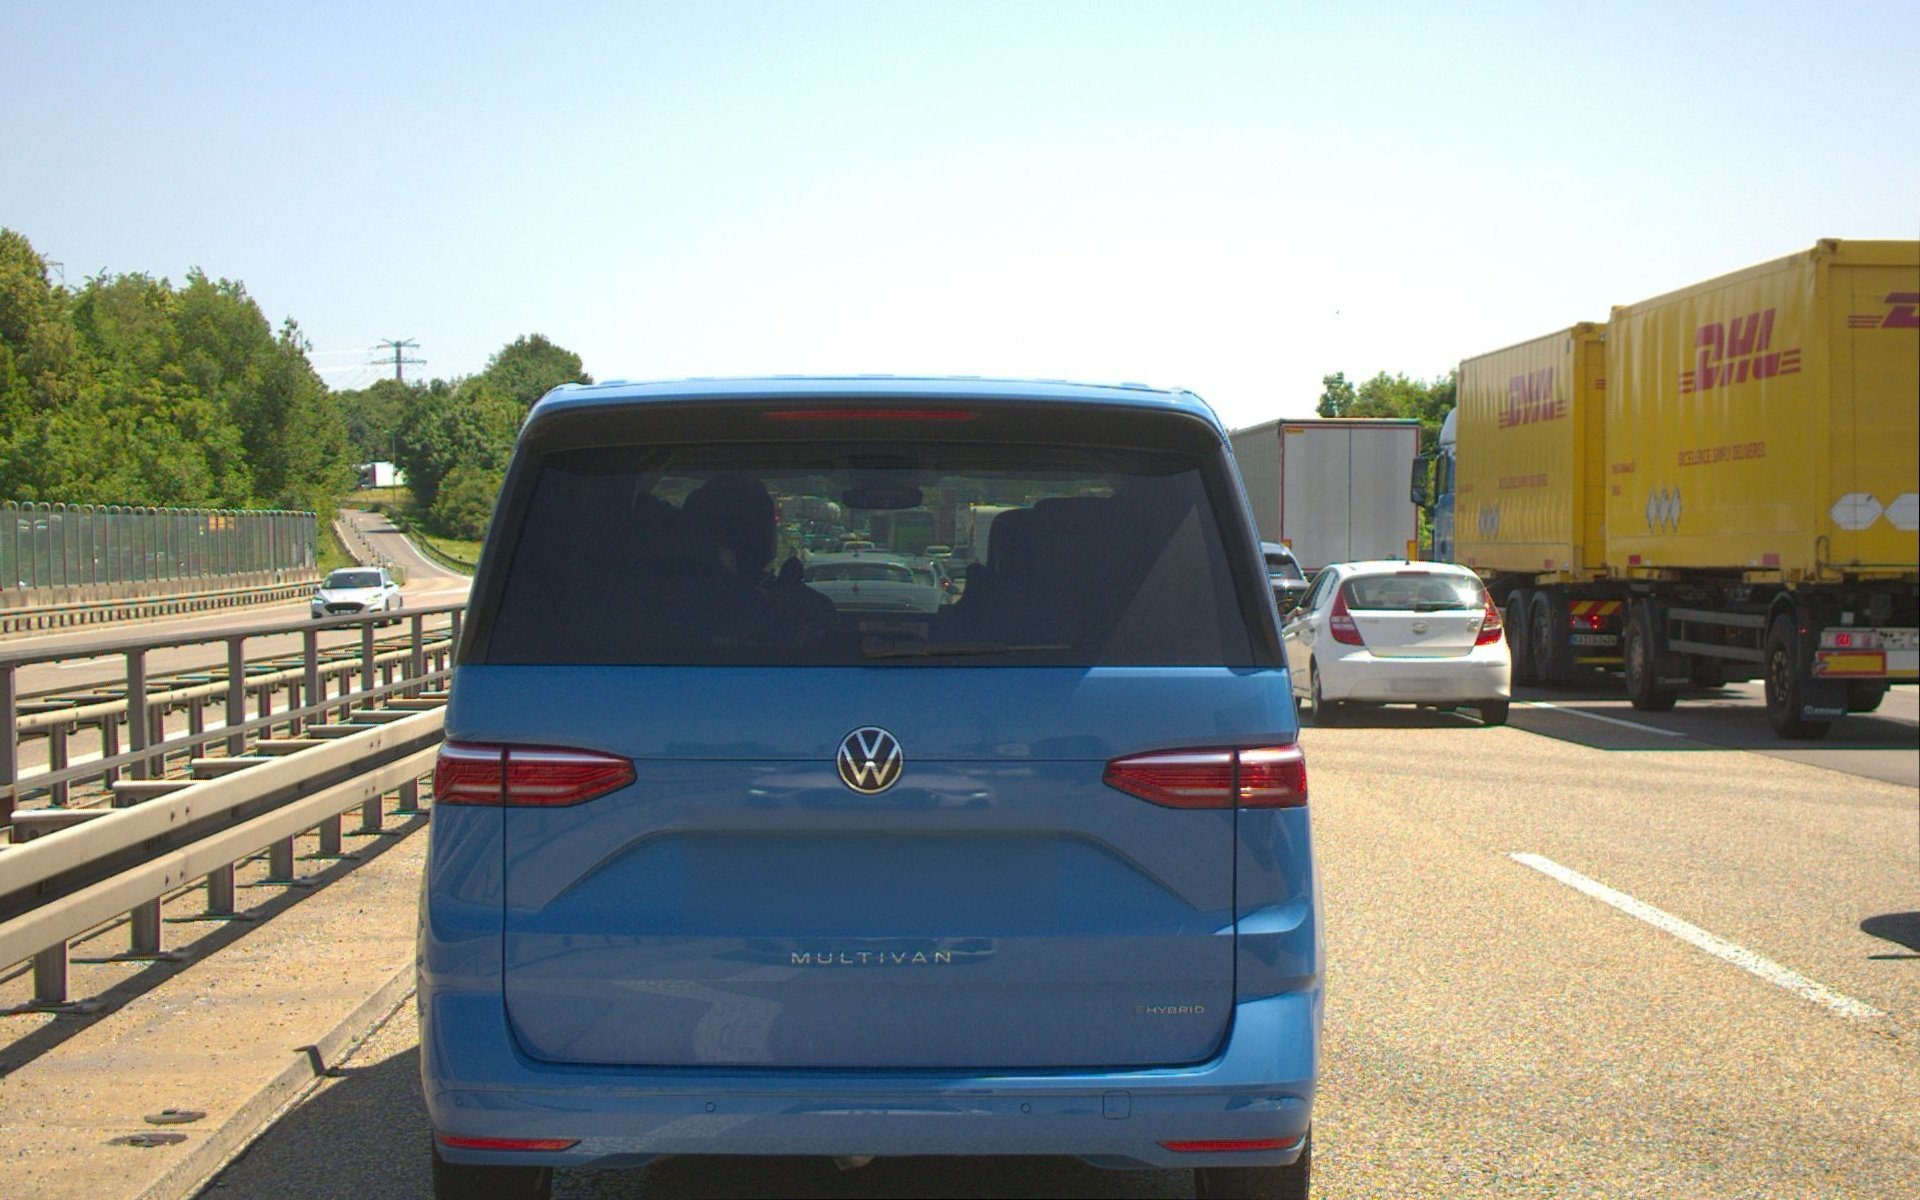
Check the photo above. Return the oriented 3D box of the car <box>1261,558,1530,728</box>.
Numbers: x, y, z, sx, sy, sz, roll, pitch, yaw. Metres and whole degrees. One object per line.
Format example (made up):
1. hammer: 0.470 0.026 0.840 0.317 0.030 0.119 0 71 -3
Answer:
1. car: 3.998 0.368 32.168 1.815 1.465 3.932 1 0 -3

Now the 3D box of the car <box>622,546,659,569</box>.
1. car: -19.804 -2.649 213.117 1.689 1.299 4.012 -3 0 2

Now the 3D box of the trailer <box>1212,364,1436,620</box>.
1. trailer: 6.984 -1.987 67.615 3.026 4.595 10.925 1 0 -1

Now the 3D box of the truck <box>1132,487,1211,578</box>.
1. truck: 5.825 -1.835 94.957 1.798 2.441 4.504 1 0 -1

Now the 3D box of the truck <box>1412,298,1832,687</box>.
1. truck: 7.646 -1.164 41.255 2.699 4.074 9.941 1 0 -2

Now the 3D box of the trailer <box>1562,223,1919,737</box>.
1. trailer: 7.925 -0.972 31.866 2.682 4.074 8.981 1 0 -3

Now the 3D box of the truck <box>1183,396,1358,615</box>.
1. truck: 6.857 -2.035 77.030 3.026 4.595 7.921 1 0 -1

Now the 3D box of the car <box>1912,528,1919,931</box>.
1. car: 4.884 0.539 12.220 1.708 1.673 4.285 -1 0 -1

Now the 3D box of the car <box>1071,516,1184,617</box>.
1. car: 3.330 -0.663 68.831 1.962 1.929 3.932 1 0 -1

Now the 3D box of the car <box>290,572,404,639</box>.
1. car: -14.910 0.114 83.839 1.993 1.539 4.386 -2 1 -1

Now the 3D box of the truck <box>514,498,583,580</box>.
1. truck: -21.330 -3.131 178.326 2.672 4.171 6.287 -1 0 1

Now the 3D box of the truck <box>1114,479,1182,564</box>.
1. truck: 5.950 -2.467 109.243 1.797 2.587 4.306 1 0 -1

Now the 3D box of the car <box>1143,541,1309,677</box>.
1. car: 3.437 0.101 45.013 1.815 1.673 3.932 1 0 -1

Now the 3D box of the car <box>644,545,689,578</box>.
1. car: -14.027 -1.856 164.356 1.762 1.503 4.223 -1 1 0

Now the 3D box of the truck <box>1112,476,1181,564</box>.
1. truck: 5.610 -2.387 103.677 1.742 2.540 4.210 1 0 -1

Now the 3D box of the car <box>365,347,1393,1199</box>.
1. car: -0.197 0.455 8.537 1.930 1.867 4.000 1 0 -1
